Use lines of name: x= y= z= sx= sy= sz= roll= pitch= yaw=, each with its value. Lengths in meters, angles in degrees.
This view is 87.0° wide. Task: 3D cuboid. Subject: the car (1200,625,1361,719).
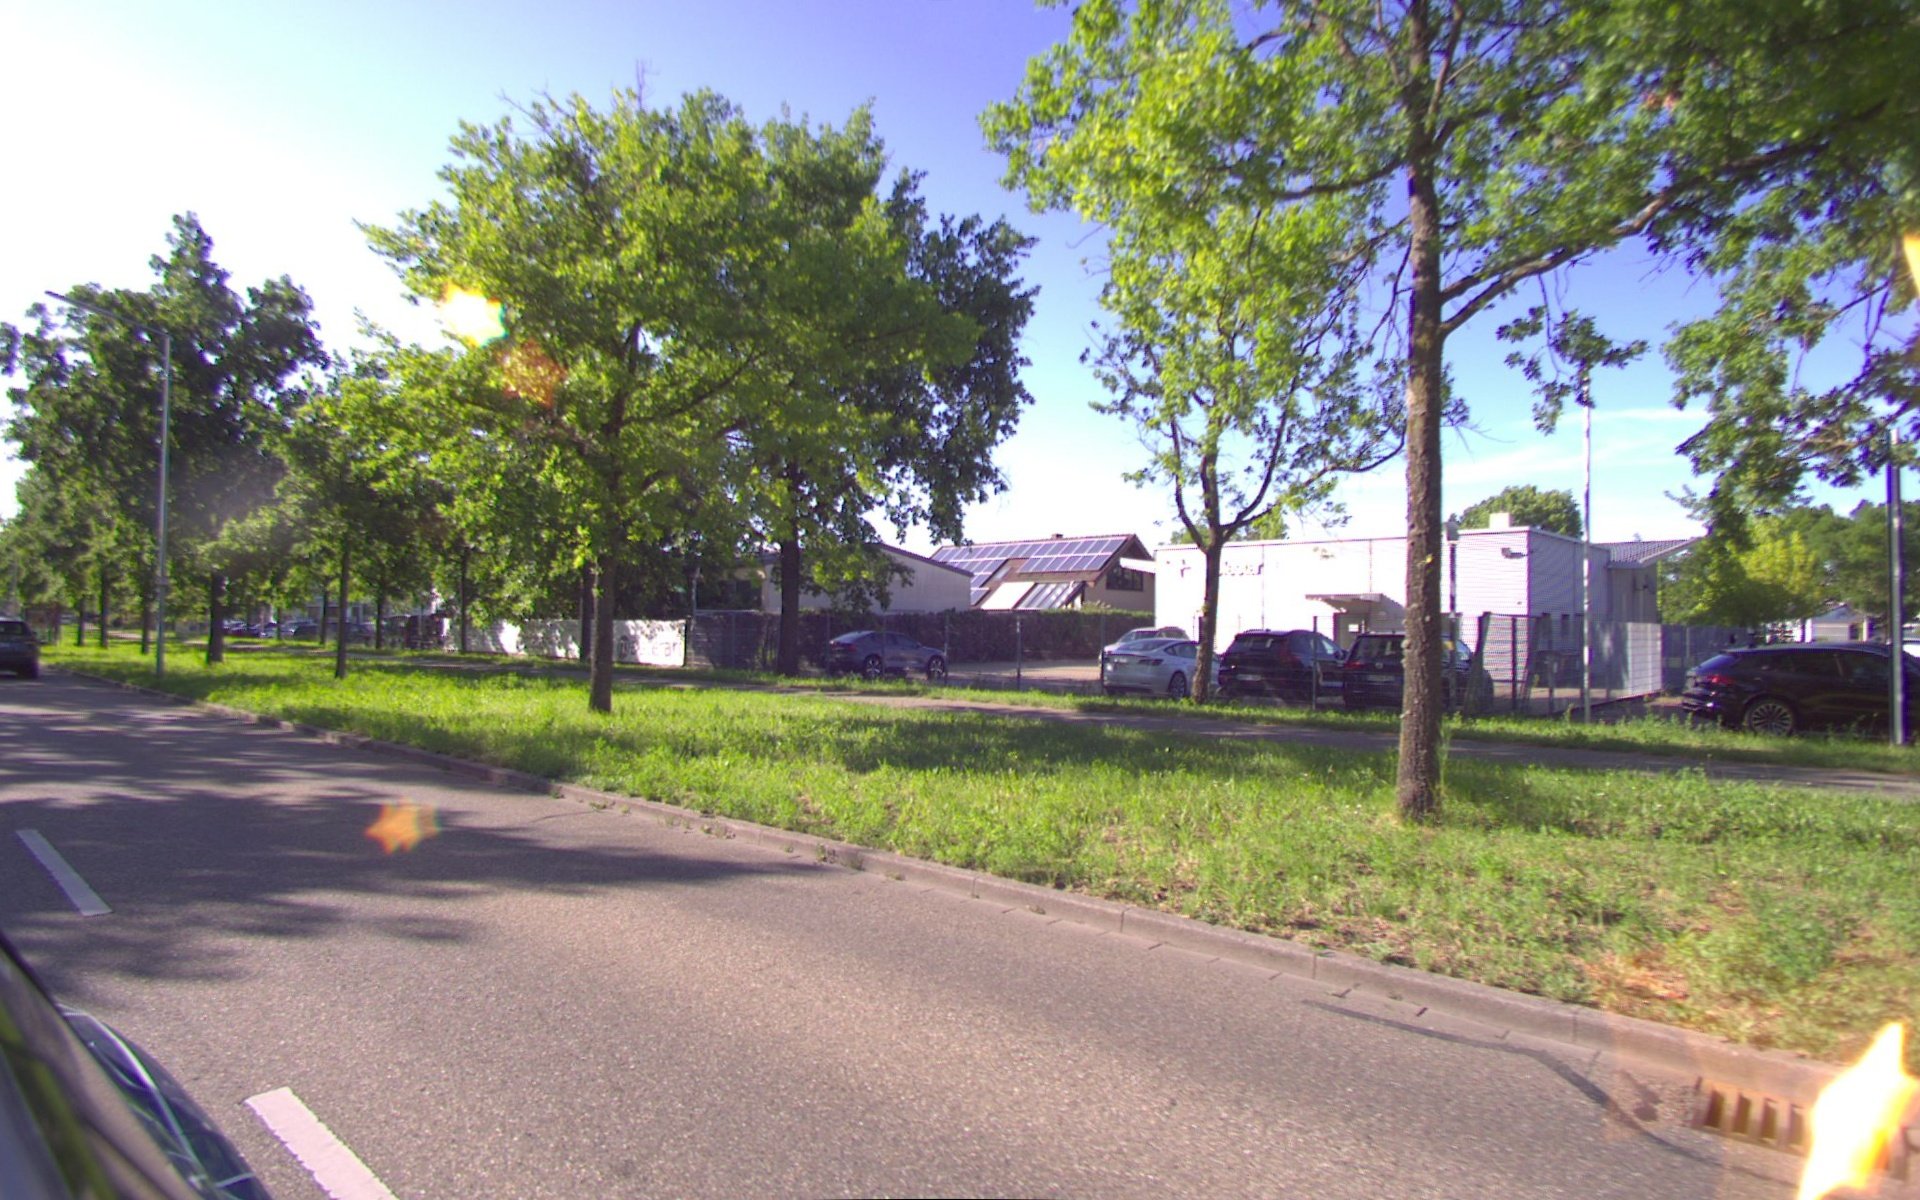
car: x=7.091 y=1.479 z=22.161 sx=1.862 sy=1.759 sz=3.943 roll=-1 pitch=0 yaw=43

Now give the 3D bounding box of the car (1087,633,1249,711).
car: x=5.046 y=1.639 z=24.168 sx=1.862 sy=1.530 sz=4.264 roll=-1 pitch=0 yaw=43

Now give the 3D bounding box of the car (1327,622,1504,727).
car: x=9.093 y=1.361 z=20.047 sx=2.000 sy=1.755 sz=3.943 roll=-1 pitch=0 yaw=44

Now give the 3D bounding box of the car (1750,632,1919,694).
car: x=26.564 y=1.802 z=29.531 sx=5.236 sy=1.673 sz=1.981 roll=-1 pitch=0 yaw=28

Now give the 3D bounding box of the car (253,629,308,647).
car: x=-61.007 y=3.391 z=90.905 sx=3.826 sy=1.513 sz=2.007 roll=-1 pitch=0 yaw=-26

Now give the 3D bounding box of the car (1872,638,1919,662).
car: x=68.701 y=3.548 z=72.107 sx=5.433 sy=1.673 sz=1.971 roll=-2 pitch=-2 yaw=44

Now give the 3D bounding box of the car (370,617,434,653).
car: x=-35.596 y=2.198 z=64.498 sx=5.672 sy=2.191 sz=1.971 roll=-1 pitch=-2 yaw=44

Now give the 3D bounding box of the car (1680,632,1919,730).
car: x=17.561 y=1.538 z=19.920 sx=5.232 sy=1.730 sz=1.982 roll=-1 pitch=0 yaw=27

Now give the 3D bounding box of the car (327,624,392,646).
car: x=-55.788 y=3.225 z=94.093 sx=4.963 sy=1.851 sz=2.007 roll=-1 pitch=0 yaw=-24

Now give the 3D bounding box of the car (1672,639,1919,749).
car: x=15.416 y=1.585 z=17.725 sx=4.473 sy=1.688 sz=1.983 roll=-1 pitch=0 yaw=25

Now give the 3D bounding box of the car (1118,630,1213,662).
car: x=10.345 y=2.310 z=51.014 sx=4.578 sy=1.530 sz=1.738 roll=-1 pitch=0 yaw=16

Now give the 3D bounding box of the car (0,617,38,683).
car: x=-26.425 y=1.297 z=27.355 sx=4.198 sy=1.685 sz=1.749 roll=-1 pitch=-3 yaw=42

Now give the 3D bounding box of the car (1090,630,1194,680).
car: x=6.436 y=1.884 z=35.567 sx=1.751 sy=1.530 sz=3.943 roll=-1 pitch=0 yaw=43

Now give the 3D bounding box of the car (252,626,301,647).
car: x=-67.865 y=3.614 z=100.562 sx=1.974 sy=1.851 sz=3.996 roll=-1 pitch=0 yaw=3

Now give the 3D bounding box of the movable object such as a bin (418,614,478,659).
movable object such as a bin: x=-30.804 y=2.147 z=60.846 sx=4.238 sy=2.535 sz=1.971 roll=-1 pitch=0 yaw=45

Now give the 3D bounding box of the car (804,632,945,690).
car: x=-2.615 y=1.848 z=31.627 sx=2.198 sy=1.530 sz=3.943 roll=-1 pitch=0 yaw=43
